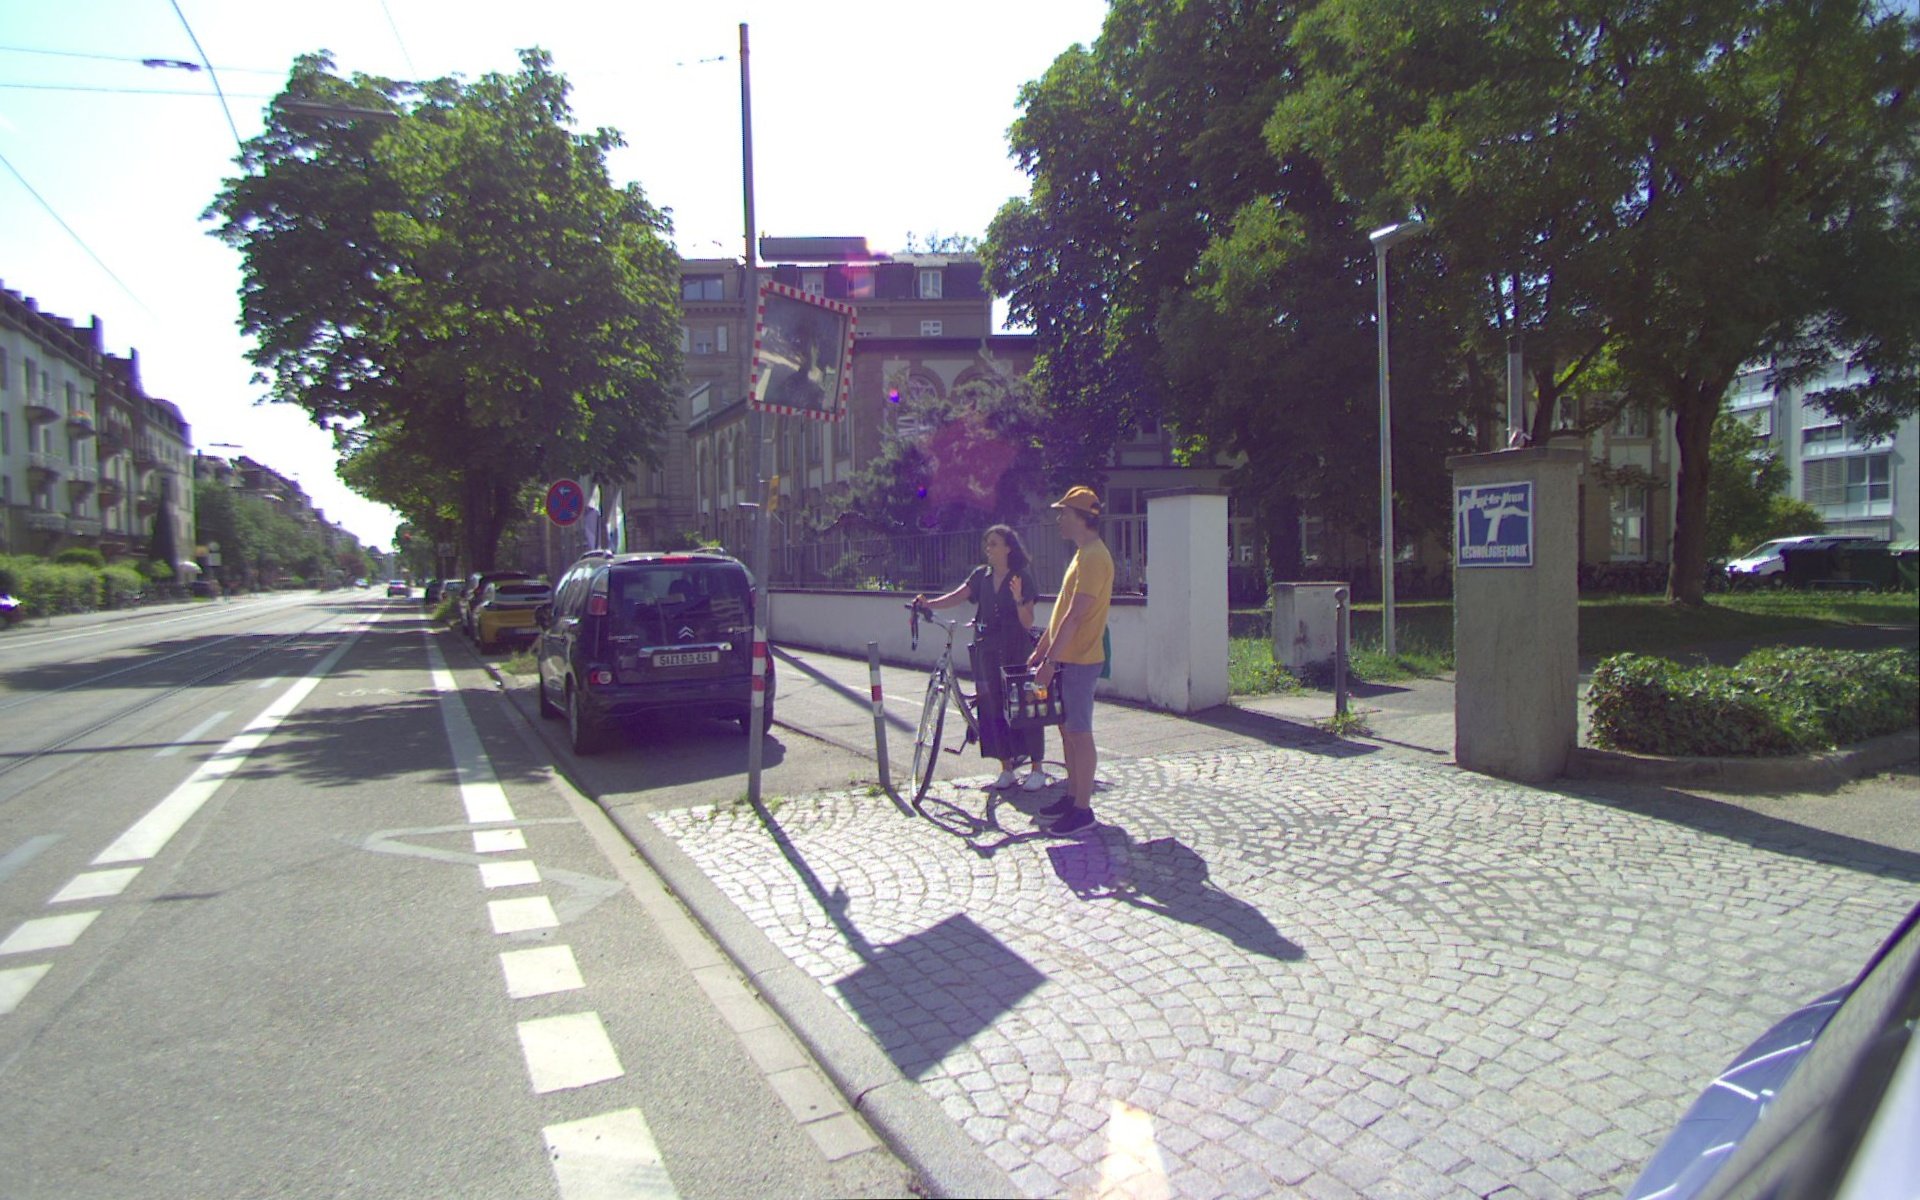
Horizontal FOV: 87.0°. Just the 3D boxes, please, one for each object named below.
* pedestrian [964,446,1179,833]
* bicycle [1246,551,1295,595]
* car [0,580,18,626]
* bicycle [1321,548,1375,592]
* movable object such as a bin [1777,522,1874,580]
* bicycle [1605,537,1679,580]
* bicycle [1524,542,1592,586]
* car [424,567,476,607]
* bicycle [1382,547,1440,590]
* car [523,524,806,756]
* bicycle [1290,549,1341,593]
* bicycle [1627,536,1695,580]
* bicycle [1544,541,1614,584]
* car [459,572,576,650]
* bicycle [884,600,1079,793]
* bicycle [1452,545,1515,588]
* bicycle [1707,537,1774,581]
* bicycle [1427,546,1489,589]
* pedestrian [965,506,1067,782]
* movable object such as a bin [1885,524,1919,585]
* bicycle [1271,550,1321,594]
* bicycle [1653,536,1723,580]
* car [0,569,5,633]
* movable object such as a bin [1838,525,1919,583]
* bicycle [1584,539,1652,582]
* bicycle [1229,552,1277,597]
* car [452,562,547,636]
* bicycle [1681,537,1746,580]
[{"bbox_3d":[0.575,0.168,5.449,0.836,1.887,0.832,-2,2,-18],"label":"pedestrian"},{"bbox_3d":[8.703,-0.773,28.457,0.576,1.175,2.105,-2,2,-4],"label":"bicycle"},{"bbox_3d":[-33.922,0.197,33.171,1.971,1.526,3.983,-1,2,15],"label":"car"},{"bbox_3d":[10.946,-0.853,28.627,0.576,1.175,2.105,-2,2,-4],"label":"bicycle"},{"bbox_3d":[22.262,-1.247,26.062,1.224,1.426,1.438,-2,2,-8],"label":"movable object such as a bin"},{"bbox_3d":[19.387,-1.178,28.842,0.576,1.175,2.105,-2,2,-4],"label":"bicycle"},{"bbox_3d":[16.931,-1.031,28.701,0.576,1.175,2.105,-2,2,-4],"label":"bicycle"},{"bbox_3d":[-23.323,-0.639,46.198,1.820,1.700,4.004,-3,2,-30],"label":"car"},{"bbox_3d":[12.740,-0.902,28.634,0.576,1.175,2.105,-2,2,-4],"label":"bicycle"},{"bbox_3d":[-3.021,0.221,9.702,1.819,1.704,4.006,-3,2,-27],"label":"car"},{"bbox_3d":[10.030,-0.834,28.645,0.576,1.175,2.105,-2,2,-4],"label":"bicycle"},{"bbox_3d":[19.950,-1.194,28.850,0.484,1.176,1.916,-2,2,-4],"label":"bicycle"},{"bbox_3d":[17.583,-1.065,28.789,0.576,1.175,2.105,-2,2,-4],"label":"bicycle"},{"bbox_3d":[-9.494,0.159,21.551,1.820,1.429,4.004,-3,3,-30],"label":"car"},{"bbox_3d":[0.181,0.566,6.581,0.362,1.054,1.490,0,3,43],"label":"bicycle"},{"bbox_3d":[14.833,-0.954,28.737,0.576,1.175,2.105,-2,2,-4],"label":"bicycle"},{"bbox_3d":[22.030,-1.161,28.606,0.548,1.175,1.942,-1,2,6],"label":"bicycle"},{"bbox_3d":[14.077,-0.929,28.663,0.576,1.175,2.105,-2,2,-4],"label":"bicycle"},{"bbox_3d":[0.352,0.252,6.331,0.421,1.641,0.447,0,2,43],"label":"pedestrian"},{"bbox_3d":[22.312,-1.050,22.983,1.191,1.378,1.504,-2,2,-7],"label":"movable object such as a bin"},{"bbox_3d":[9.429,-0.796,28.490,0.576,1.175,2.105,-2,2,-4],"label":"bicycle"},{"bbox_3d":[20.791,-1.199,28.945,0.601,1.176,1.853,-2,2,-3],"label":"bicycle"},{"bbox_3d":[-29.347,0.142,27.920,1.967,1.882,3.992,-1,2,8],"label":"car"},{"bbox_3d":[22.467,-1.118,24.502,1.191,1.365,1.354,-2,2,-7],"label":"movable object such as a bin"},{"bbox_3d":[18.660,-1.123,28.734,0.576,1.176,1.924,-2,2,-3],"label":"bicycle"},{"bbox_3d":[8.088,-0.724,27.984,0.576,1.175,2.105,-2,2,-4],"label":"bicycle"},{"bbox_3d":[-11.980,-0.081,26.185,1.820,1.700,4.004,-3,2,-30],"label":"car"},{"bbox_3d":[21.435,-1.173,28.823,0.497,1.176,1.805,-1,2,1],"label":"bicycle"}]
